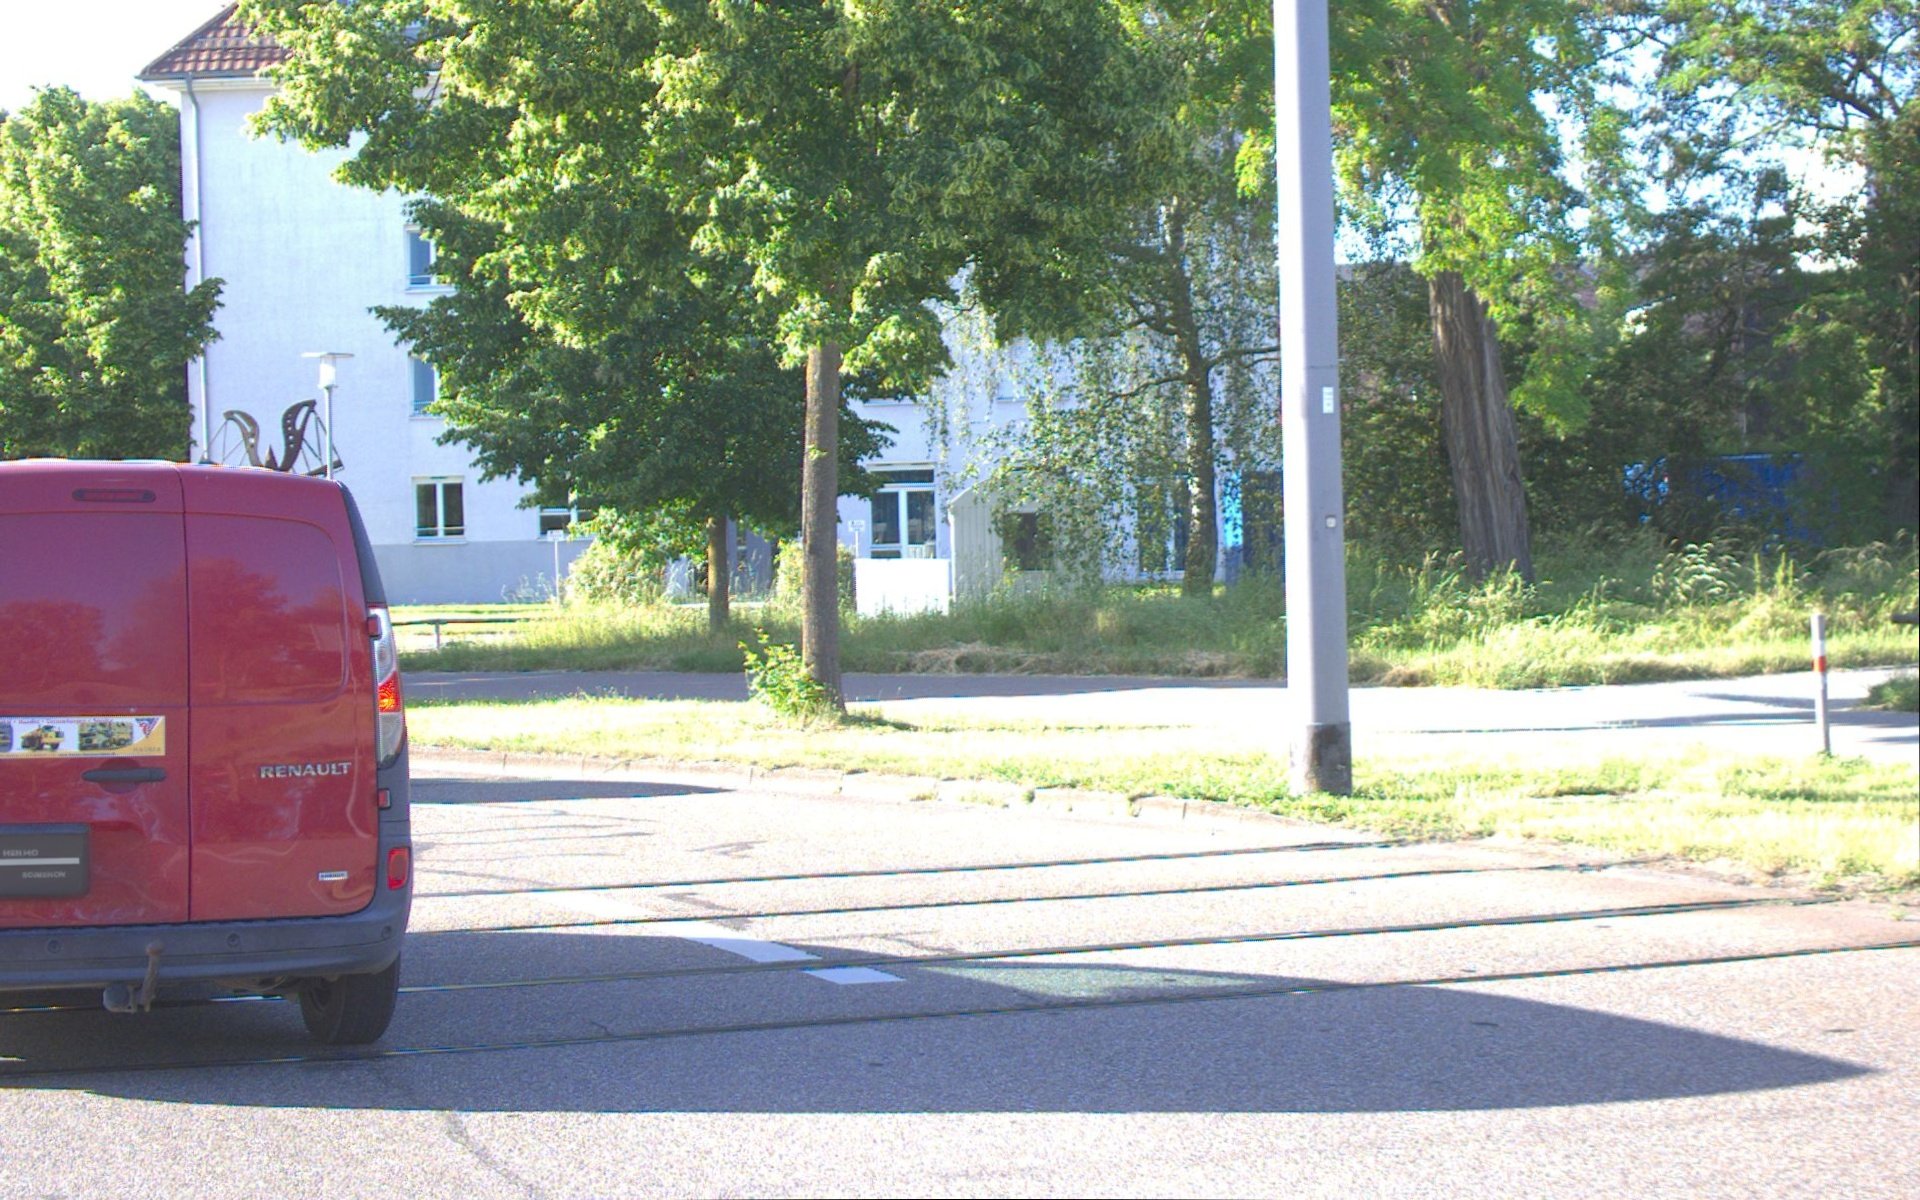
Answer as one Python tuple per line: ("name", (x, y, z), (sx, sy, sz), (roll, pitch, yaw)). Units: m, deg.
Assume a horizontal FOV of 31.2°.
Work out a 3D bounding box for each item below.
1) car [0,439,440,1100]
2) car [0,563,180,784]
("car", (-3.086, 0.442, 11.277), (1.802, 1.807, 3.810), (0, 1, -24))
("car", (-7.001, 0.501, 24.426), (1.714, 1.431, 4.152), (-1, 0, -29))
